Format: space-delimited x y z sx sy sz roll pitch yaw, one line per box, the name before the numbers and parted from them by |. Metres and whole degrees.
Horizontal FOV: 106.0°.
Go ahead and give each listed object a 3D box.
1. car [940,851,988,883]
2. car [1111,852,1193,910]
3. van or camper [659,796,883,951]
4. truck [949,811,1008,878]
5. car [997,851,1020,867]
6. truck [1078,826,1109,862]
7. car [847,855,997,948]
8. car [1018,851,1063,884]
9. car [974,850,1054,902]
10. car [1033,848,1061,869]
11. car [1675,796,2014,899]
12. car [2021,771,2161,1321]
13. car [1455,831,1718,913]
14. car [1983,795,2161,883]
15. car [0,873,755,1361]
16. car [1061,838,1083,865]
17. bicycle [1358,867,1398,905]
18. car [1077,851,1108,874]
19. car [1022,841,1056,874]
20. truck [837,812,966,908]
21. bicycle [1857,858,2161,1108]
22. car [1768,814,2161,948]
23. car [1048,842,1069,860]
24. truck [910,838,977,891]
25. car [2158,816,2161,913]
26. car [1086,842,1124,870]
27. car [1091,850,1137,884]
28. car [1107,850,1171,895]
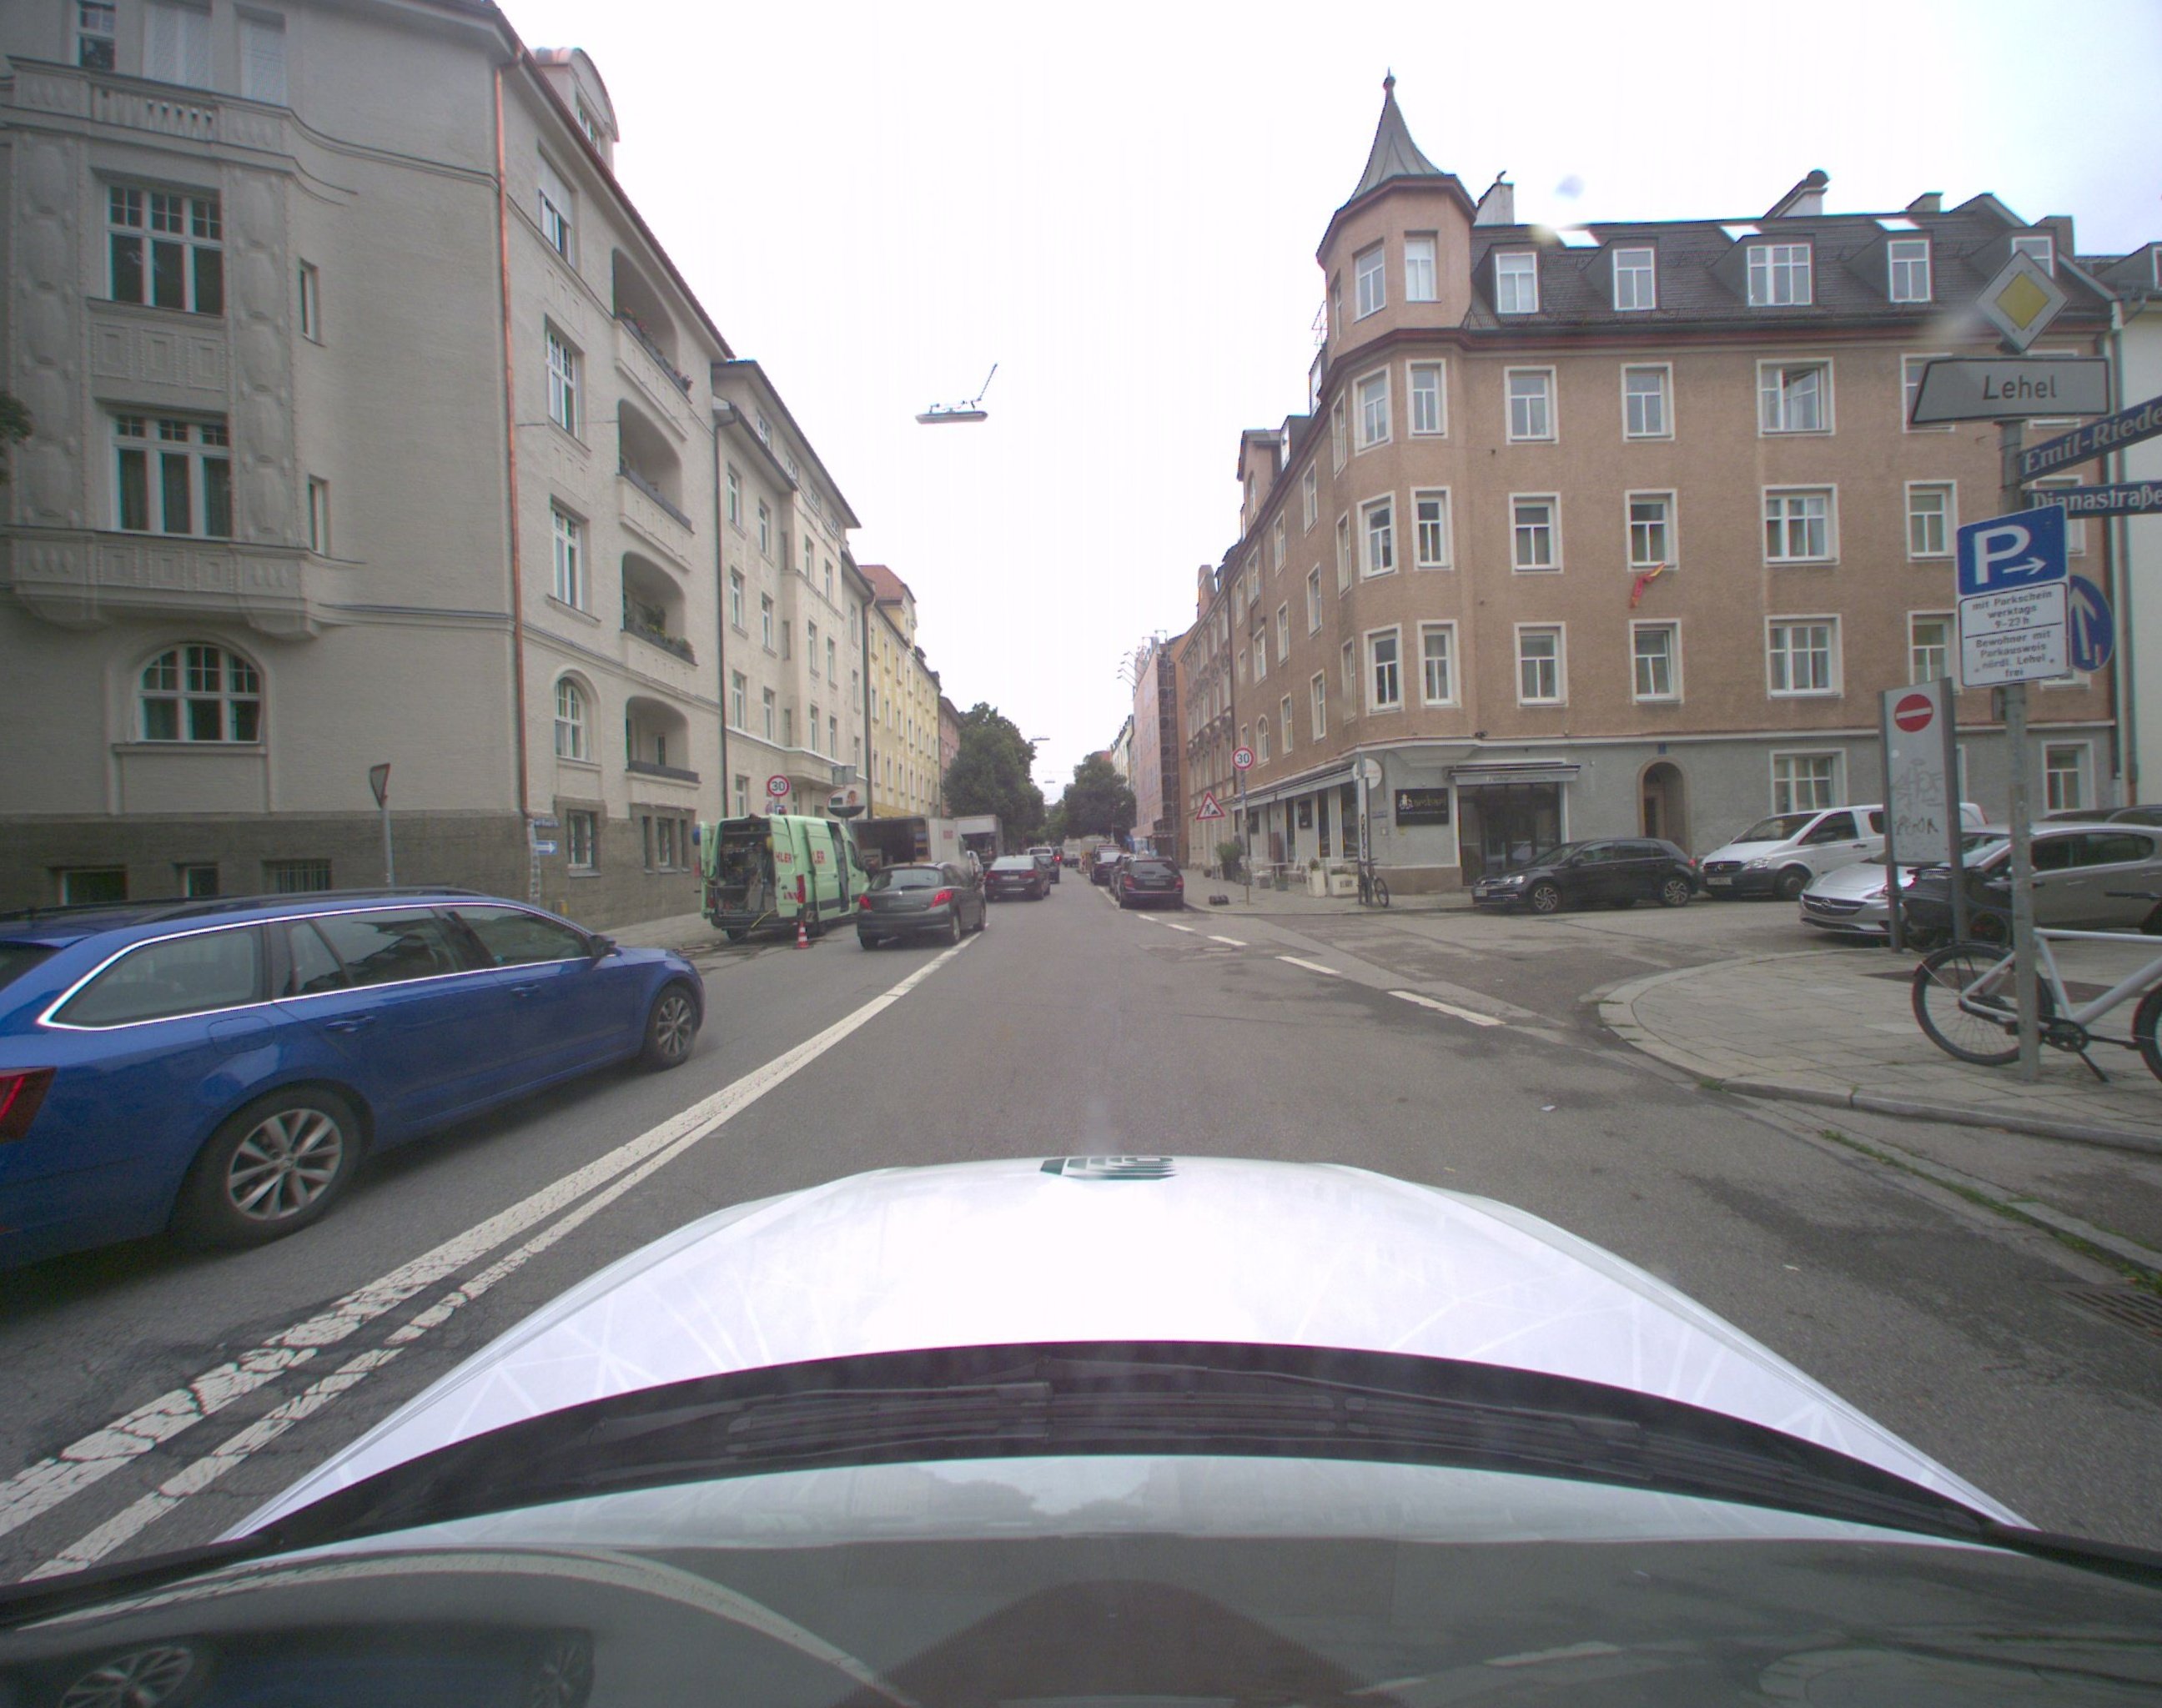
car | -6.305 0.652 44.369 1.984 1.610 4.140 -1 0 0
car | 1.936 0.704 23.327 1.839 1.429 4.181 1 1 -2
van or camper | -6.618 0.313 18.489 2.592 2.840 6.185 -2 1 0
truck | -6.427 -0.559 52.127 3.005 3.951 6.990 -1 0 -2
car | -6.958 0.447 78.917 1.934 1.448 3.864 -1 0 -1
truck | 1.048 -0.859 71.761 2.485 2.973 5.325 -1 0 -1
car | -2.862 0.798 15.561 1.751 1.461 4.079 -2 0 4
car | -1.950 0.617 40.344 1.984 1.429 4.140 -2 1 0
car | -2.126 0.668 27.325 1.982 1.429 4.910 -2 1 3
car | -2.625 0.324 63.908 1.984 1.429 4.140 -2 1 0
car | 15.783 -0.100 17.072 5.112 1.854 2.099 -2 -2 -1
car | 4.129 0.538 0.527 1.812 1.679 4.511 -3 0 1
car | 10.173 0.371 16.640 4.157 1.429 1.924 -2 -2 -1
car | 22.441 -0.330 17.121 4.594 1.687 2.099 -2 -2 -1
car | -4.119 0.914 4.770 1.976 1.454 4.744 -2 -1 7
car | -0.813 -0.236 78.892 1.933 2.480 4.783 -1 0 1
bicycle | 6.845 0.719 18.810 0.455 0.805 1.327 -1 0 2
car | 0.766 0.556 55.491 1.984 1.429 4.140 -2 1 0
car | -2.793 0.199 54.451 1.984 2.075 4.140 -2 1 0
truck | -6.056 0.124 28.746 2.764 2.873 7.202 -2 1 1
bicycle | 5.574 0.637 4.596 0.512 1.208 1.996 -1 0 2
car | 11.664 0.292 10.551 4.022 1.456 1.747 -2 2 1
car | -2.463 -0.312 89.583 1.986 1.904 4.001 -1 0 1
truck | -6.144 0.435 37.028 2.280 2.171 4.804 -1 0 -1
car | 17.197 0.108 10.681 3.793 1.377 1.747 -2 2 1
car | 1.287 0.083 45.930 1.984 1.429 4.140 -2 1 0
car | 1.505 0.570 38.162 1.839 1.429 4.303 1 1 -2
car | 1.997 0.615 29.221 1.839 1.429 4.137 1 1 -2
